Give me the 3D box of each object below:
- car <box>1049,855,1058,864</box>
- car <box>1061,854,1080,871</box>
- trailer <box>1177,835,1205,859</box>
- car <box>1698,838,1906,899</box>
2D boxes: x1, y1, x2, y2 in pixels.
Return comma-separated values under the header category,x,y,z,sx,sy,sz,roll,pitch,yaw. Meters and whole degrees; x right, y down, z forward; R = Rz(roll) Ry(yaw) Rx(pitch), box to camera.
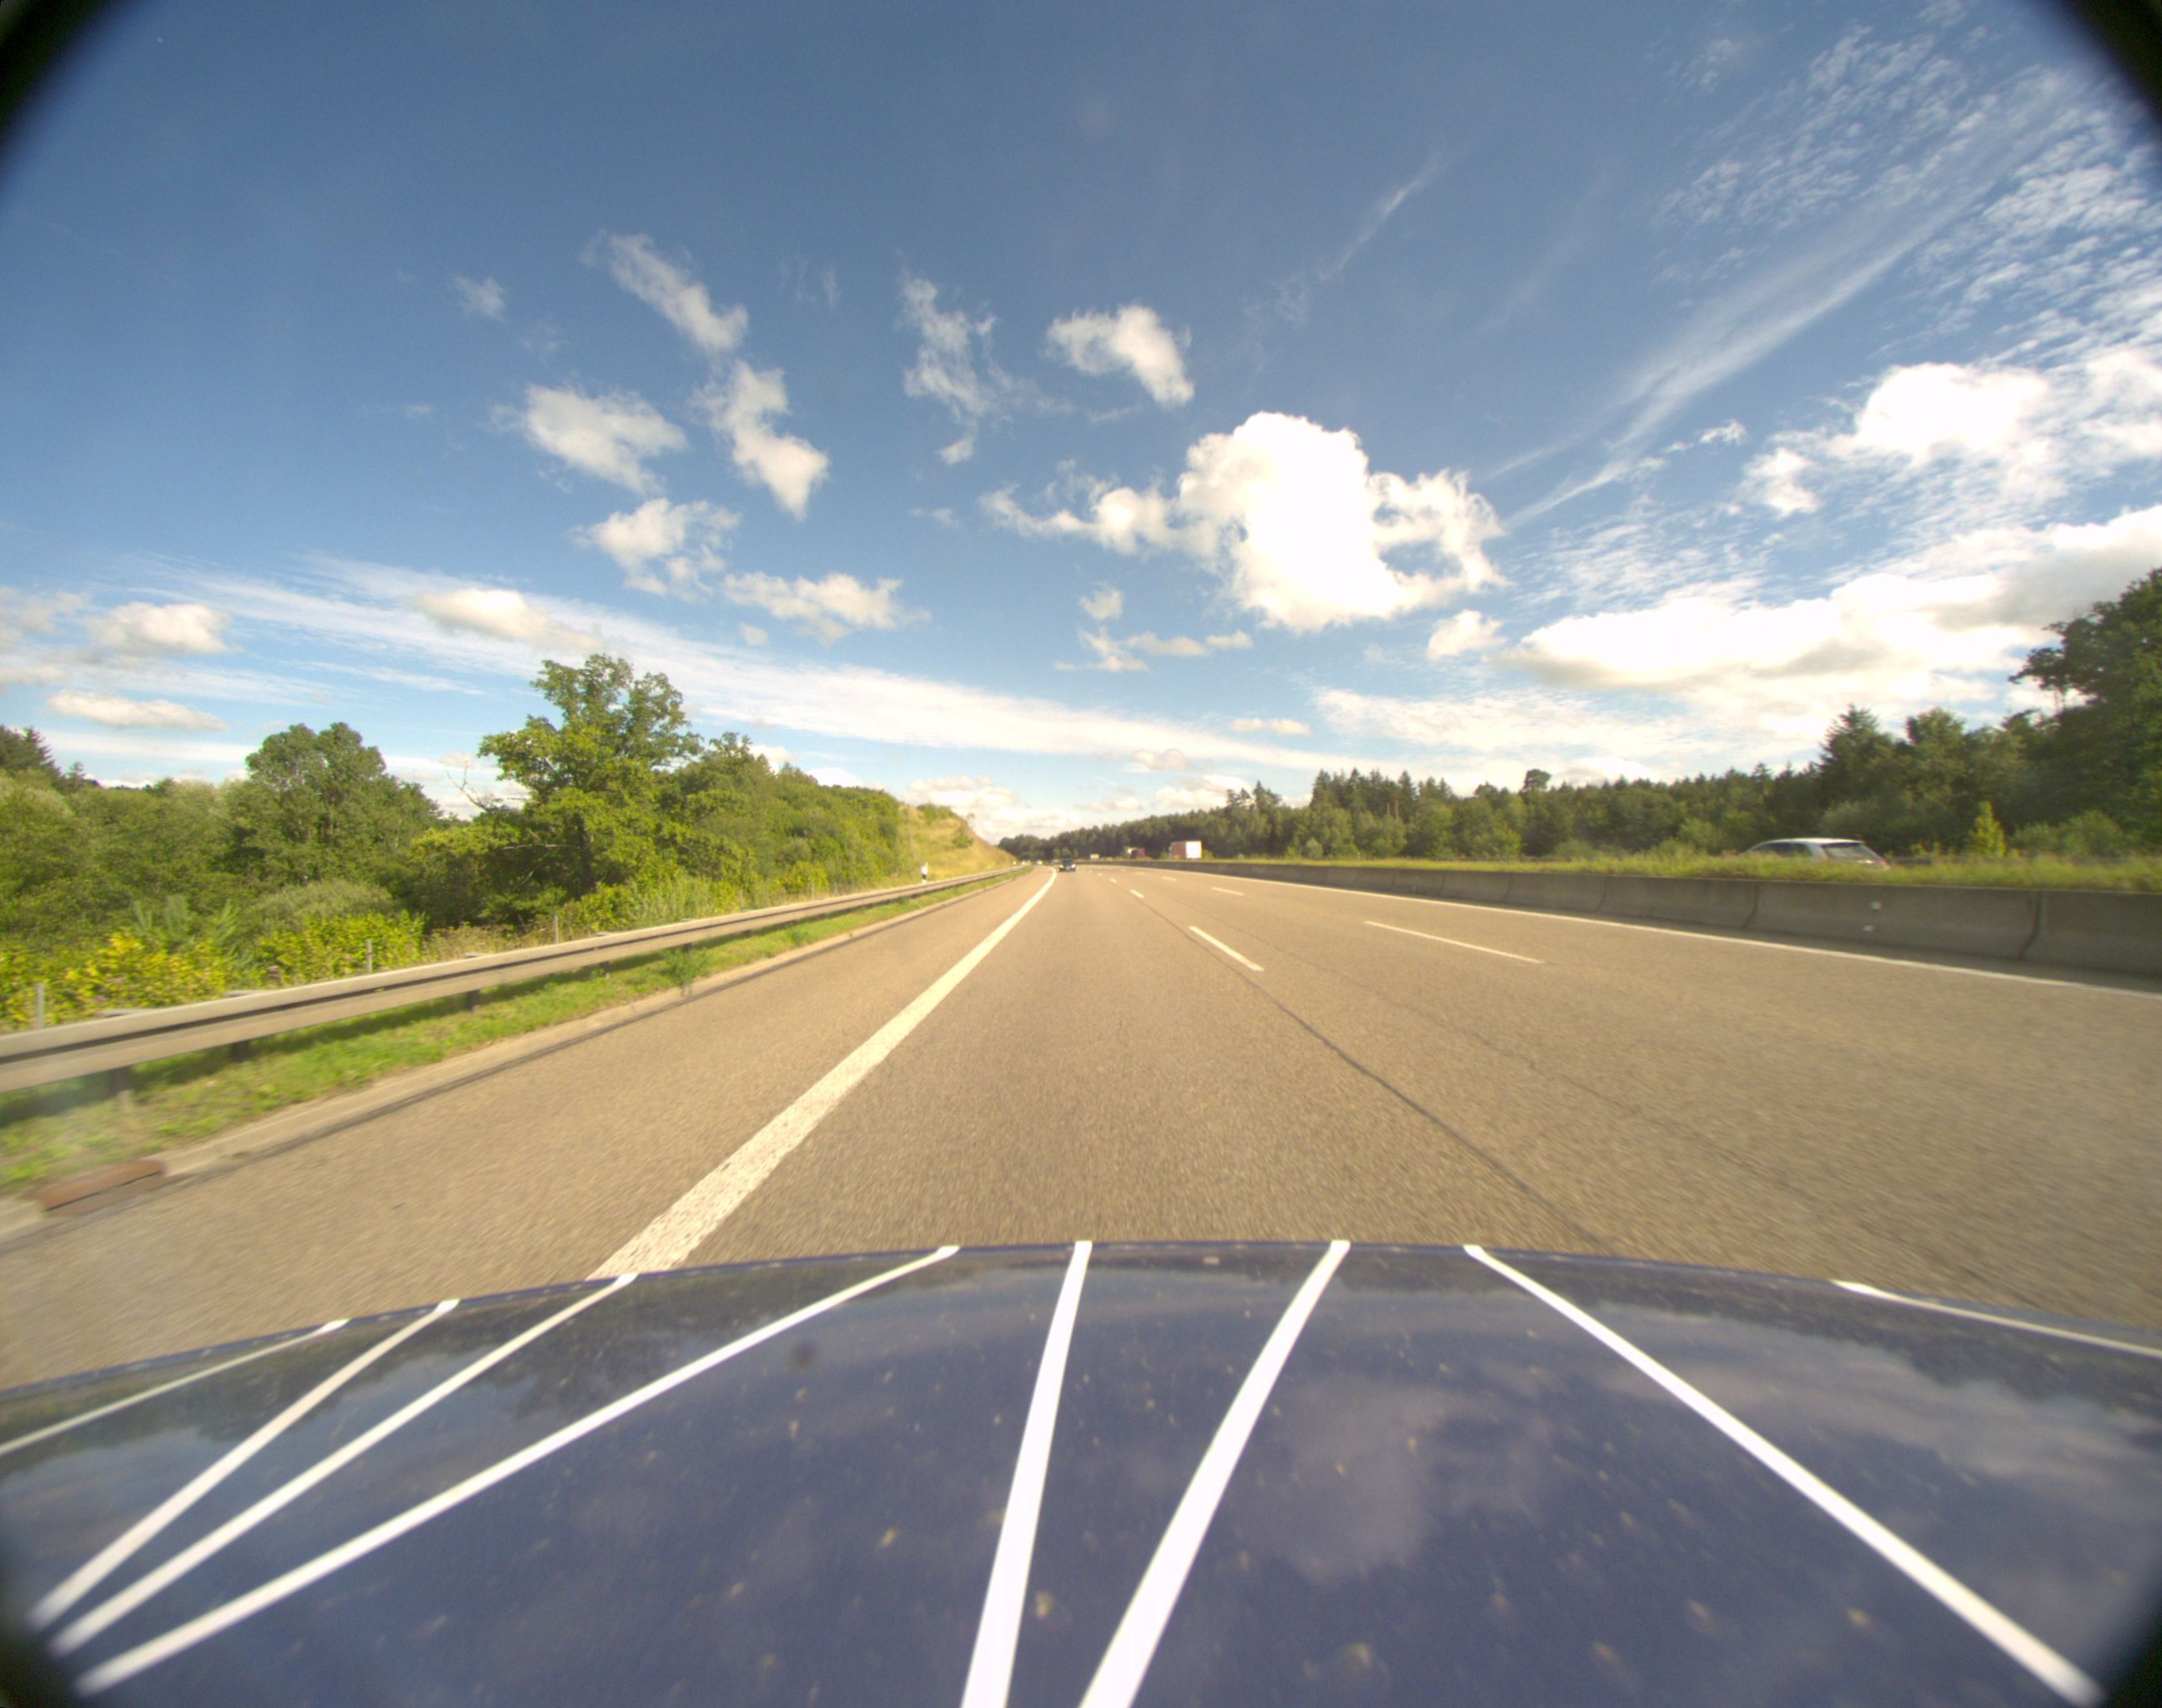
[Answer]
category,x,y,z,sx,sy,sz,roll,pitch,yaw
car,-6.990,1.424,193.241,1.999,2.002,3.998,-2,0,-4
car,-1.196,0.931,85.543,1.999,1.827,3.999,-2,1,-1
trailer,20.066,-1.241,139.644,3.029,4.084,12.789,-2,0,-1
car,19.272,0.357,20.599,1.846,1.448,4.000,-2,0,1
